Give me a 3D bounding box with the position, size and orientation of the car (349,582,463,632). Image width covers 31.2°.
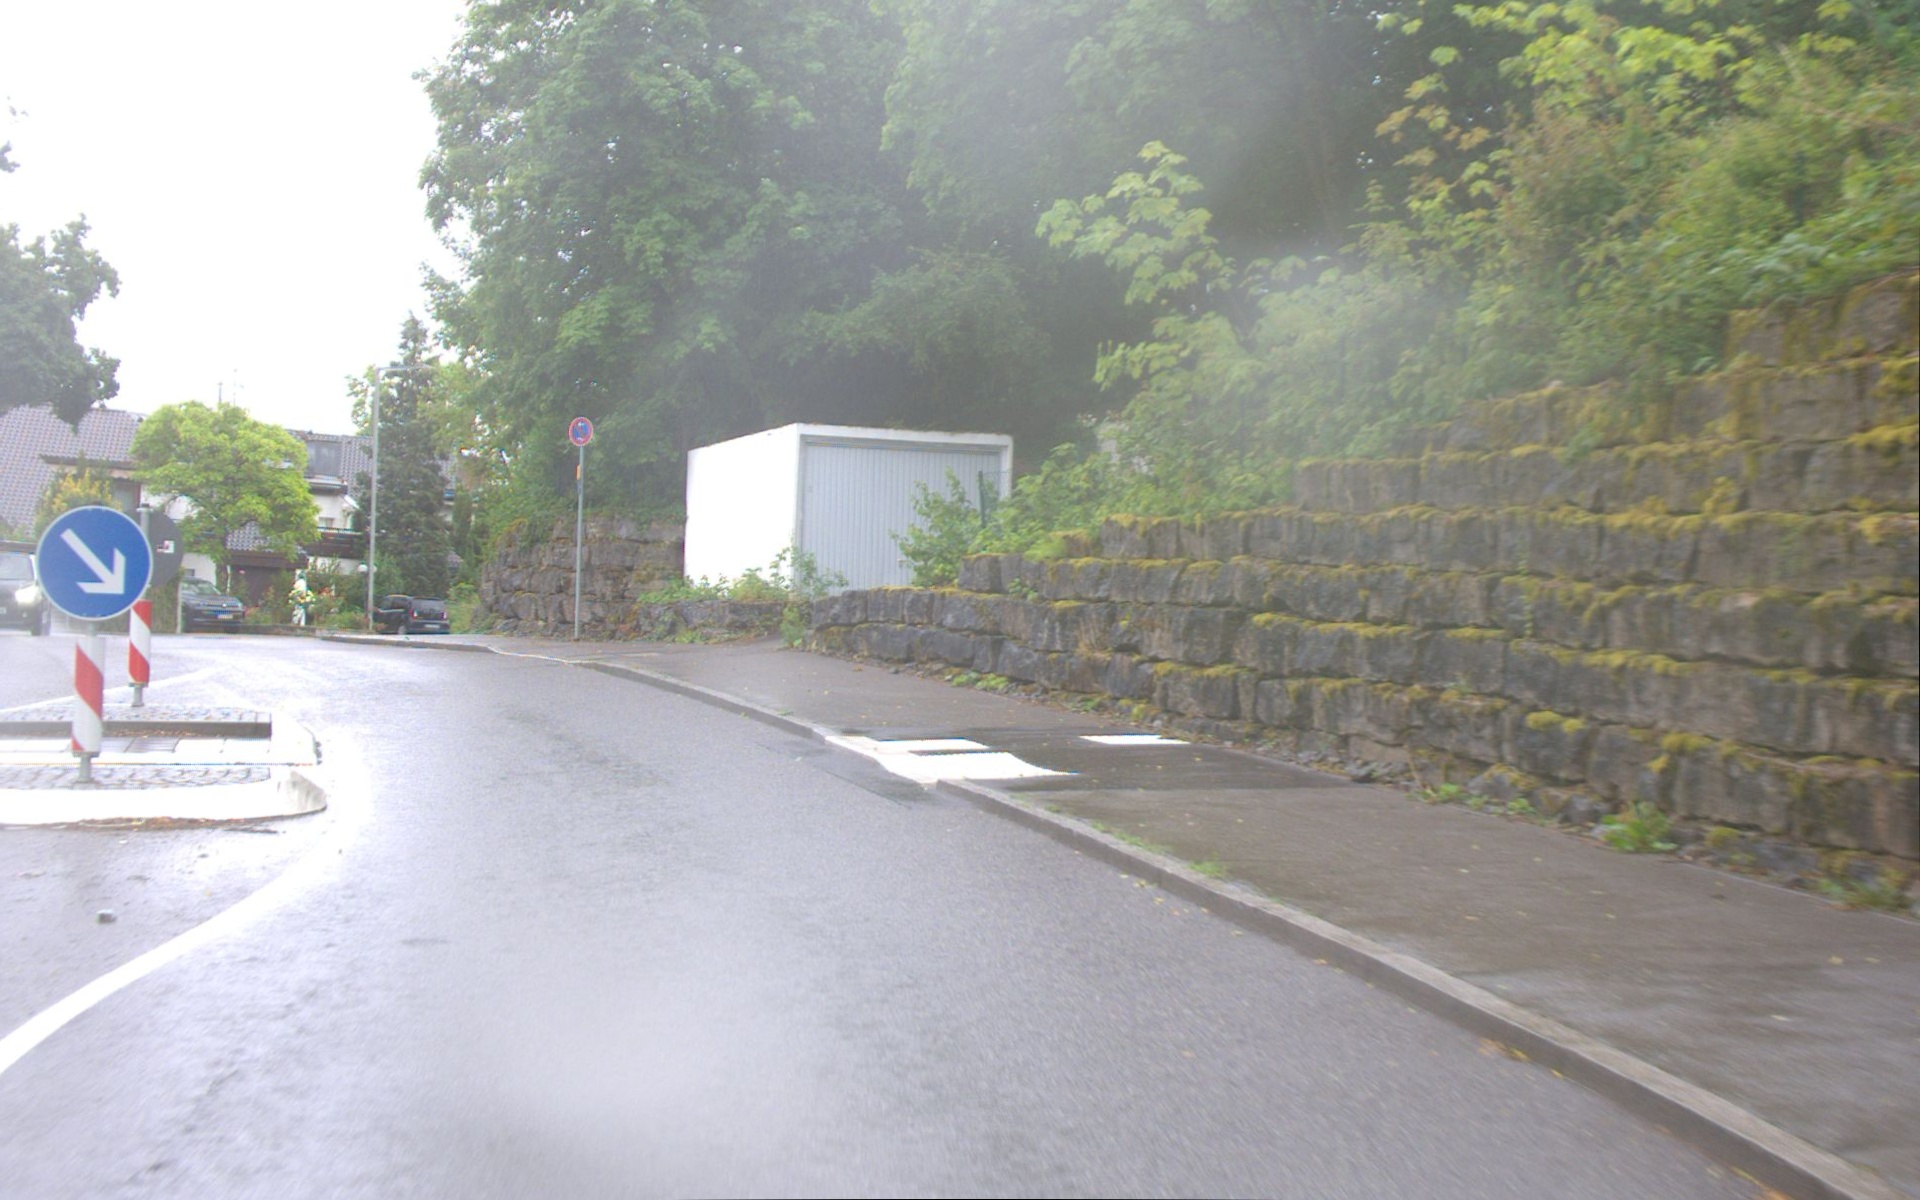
[{"bbox_3d":[-17.697,0.231,109.753,1.934,1.385,4.000,5,-2,-35],"label":"car"}]

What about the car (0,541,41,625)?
[{"bbox_3d":[-18.133,-0.331,64.092,1.831,1.515,4.628,0,0,-16],"label":"car"}]
